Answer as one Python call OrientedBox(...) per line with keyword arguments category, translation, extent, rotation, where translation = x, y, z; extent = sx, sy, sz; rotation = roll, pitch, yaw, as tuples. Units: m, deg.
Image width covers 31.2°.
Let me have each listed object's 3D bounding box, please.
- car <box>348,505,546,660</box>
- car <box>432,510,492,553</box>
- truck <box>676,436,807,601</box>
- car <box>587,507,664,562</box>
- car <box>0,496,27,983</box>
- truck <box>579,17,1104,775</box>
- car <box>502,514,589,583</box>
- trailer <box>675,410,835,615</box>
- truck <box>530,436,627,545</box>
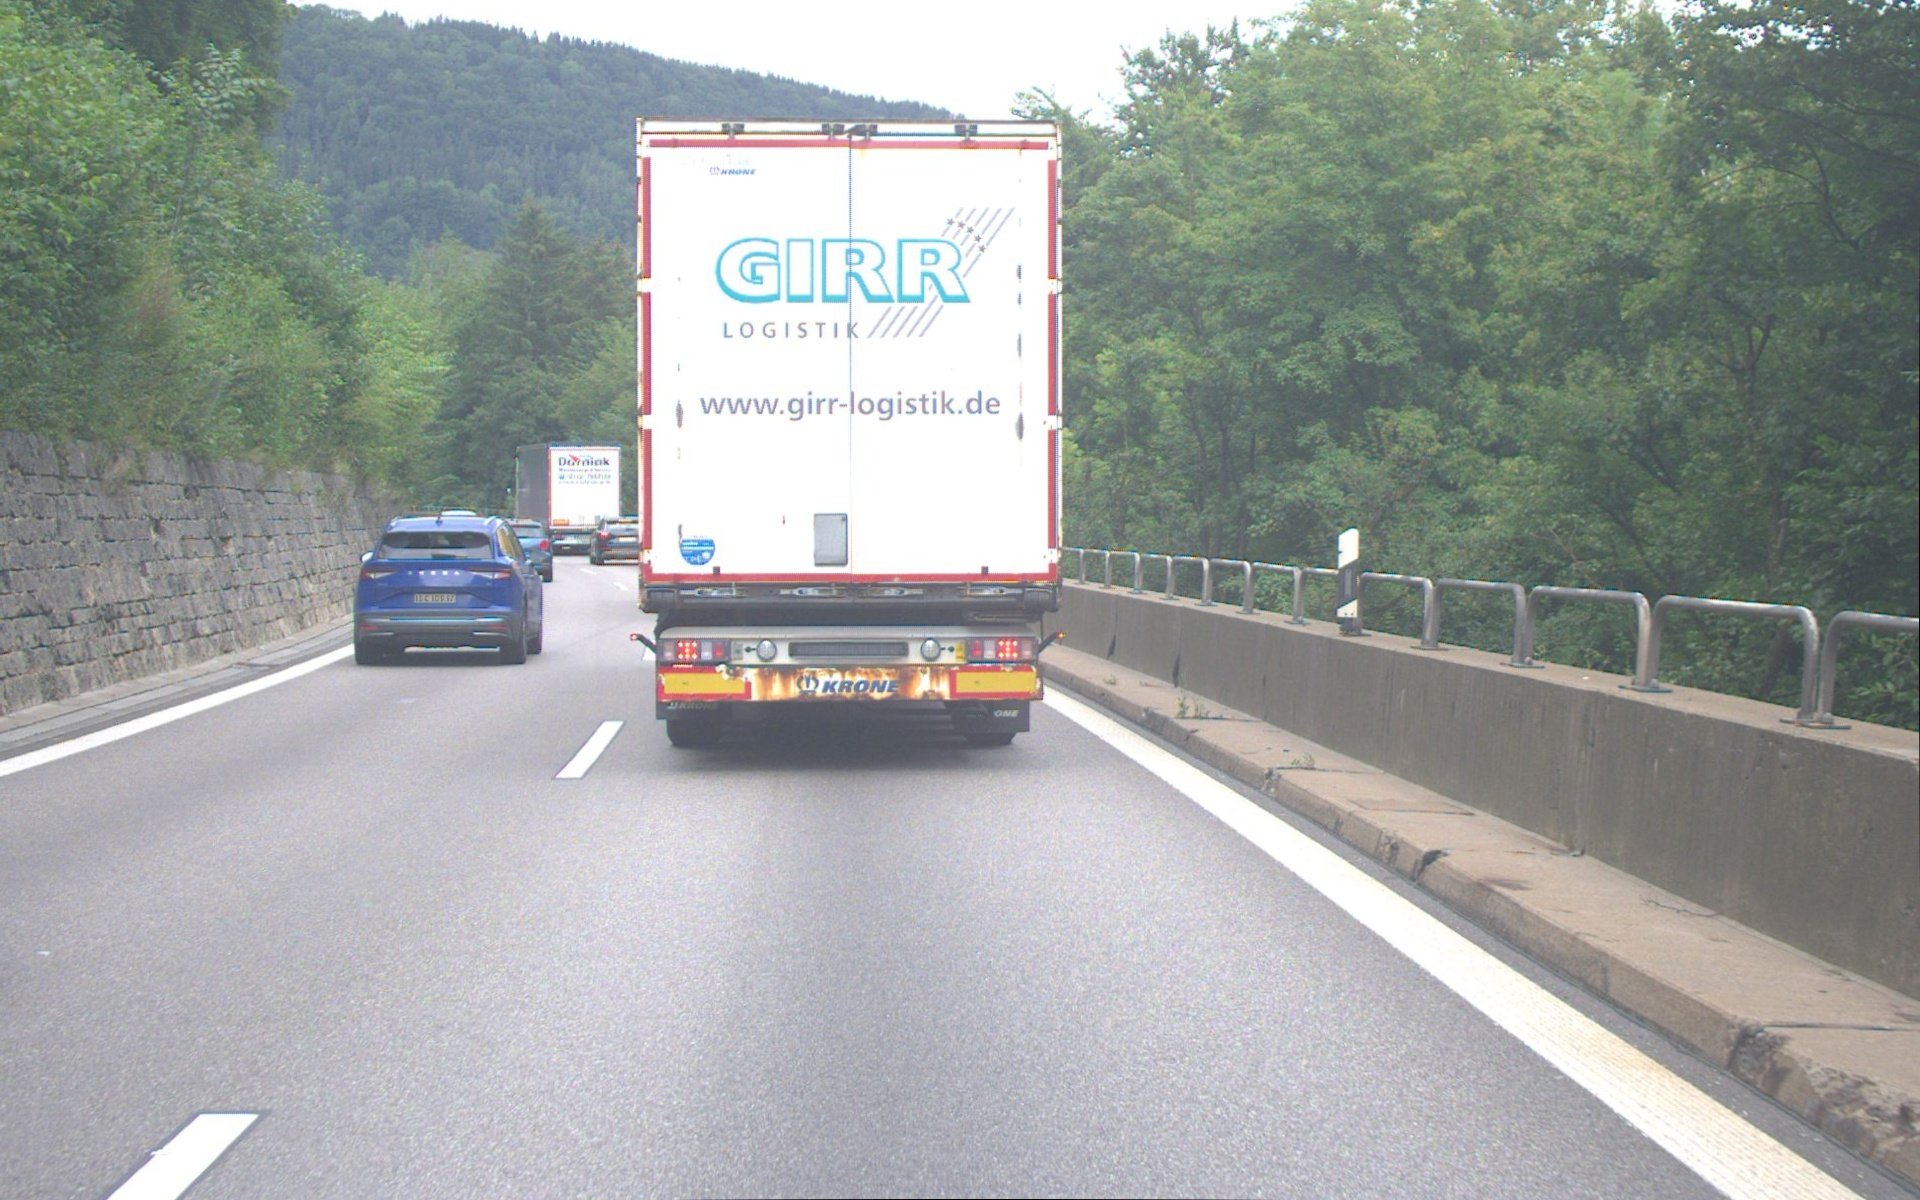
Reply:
OrientedBox(category="car", translation=(-5.684, -0.223, 38.611), extent=(1.993, 1.626, 5.009), rotation=(0, 1, -6))
OrientedBox(category="car", translation=(-18.598, -2.572, 128.324), extent=(1.896, 1.545, 4.251), rotation=(1, 1, -12))
OrientedBox(category="truck", translation=(-4.021, -1.475, 62.515), extent=(2.208, 2.841, 5.005), rotation=(1, 1, -5))
OrientedBox(category="car", translation=(-10.214, -1.998, 104.851), extent=(2.060, 1.648, 4.001), rotation=(0, 1, -9))
OrientedBox(category="car", translation=(-4.104, 0.501, 9.281), extent=(1.993, 1.626, 5.009), rotation=(1, 1, -2))
OrientedBox(category="truck", translation=(-1.197, -1.379, 27.855), extent=(3.084, 4.448, 15.158), rotation=(0, 1, -4))
OrientedBox(category="car", translation=(-9.924, -1.249, 82.170), extent=(1.993, 1.590, 4.355), rotation=(1, 1, -7))
OrientedBox(category="trailer", translation=(-3.528, -1.422, 57.029), extent=(2.211, 3.037, 11.141), rotation=(1, 1, -5))
OrientedBox(category="truck", translation=(-14.138, -3.987, 126.801), extent=(2.633, 3.844, 12.363), rotation=(0, 1, -11))
